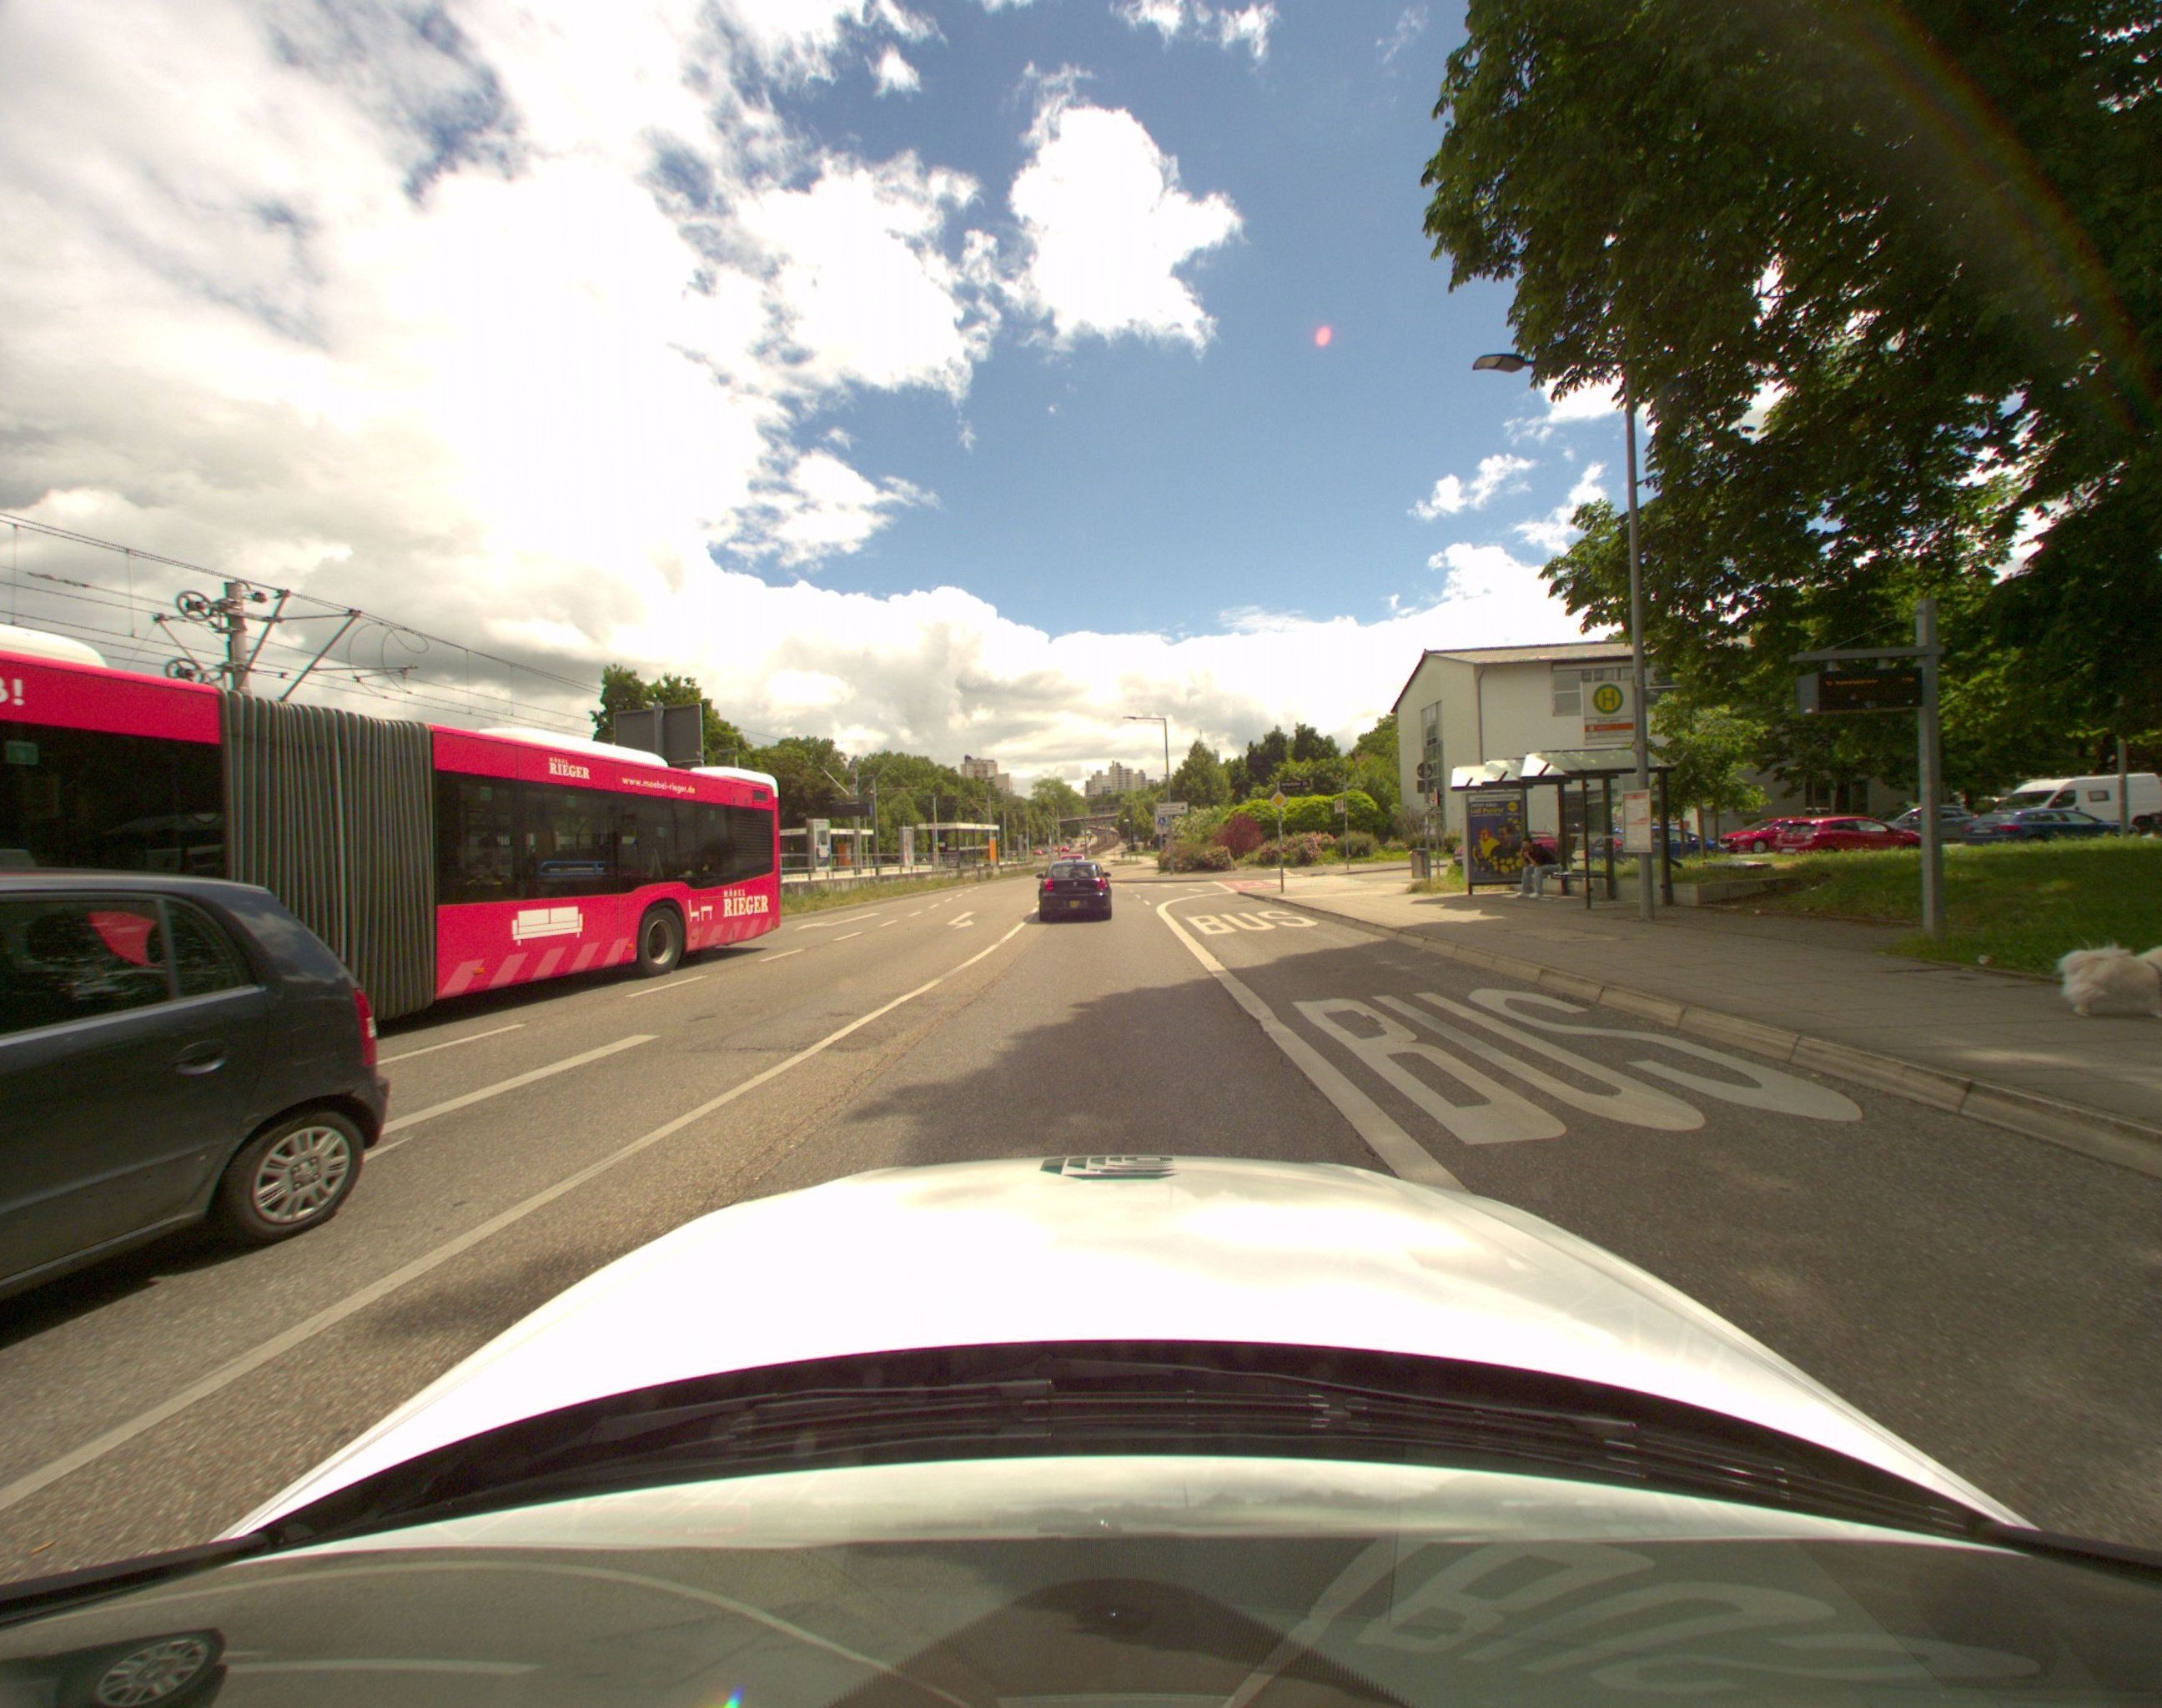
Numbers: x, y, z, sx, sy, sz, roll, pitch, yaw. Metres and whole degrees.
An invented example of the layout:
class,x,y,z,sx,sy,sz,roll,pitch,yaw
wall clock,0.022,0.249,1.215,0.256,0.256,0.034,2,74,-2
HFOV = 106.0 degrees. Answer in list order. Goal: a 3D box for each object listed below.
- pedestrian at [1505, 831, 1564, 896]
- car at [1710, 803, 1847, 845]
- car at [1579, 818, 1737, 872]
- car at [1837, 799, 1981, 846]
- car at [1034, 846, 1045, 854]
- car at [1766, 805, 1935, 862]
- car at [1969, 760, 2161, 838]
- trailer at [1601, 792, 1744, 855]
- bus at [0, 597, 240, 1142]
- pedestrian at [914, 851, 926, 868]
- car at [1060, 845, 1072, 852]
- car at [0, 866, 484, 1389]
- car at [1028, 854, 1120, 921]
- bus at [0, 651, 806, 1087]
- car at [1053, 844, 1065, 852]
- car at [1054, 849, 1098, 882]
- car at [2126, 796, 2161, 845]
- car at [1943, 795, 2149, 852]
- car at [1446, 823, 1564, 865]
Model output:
class,x,y,z,sx,sy,sz,roll,pitch,yaw
pedestrian,9.183,0.183,16.515,0.822,1.259,0.688,-3,0,9
car,29.991,-1.302,35.128,4.062,1.502,2.003,-4,1,4
car,18.797,-0.312,26.682,3.777,1.456,1.898,-4,2,3
car,35.124,-1.307,34.646,3.965,1.723,1.913,-3,0,7
car,-7.819,-0.789,153.821,1.520,1.370,3.604,-2,1,7
car,24.799,-0.674,26.345,3.670,1.643,1.832,-2,2,4
car,41.474,-2.260,34.188,5.549,2.866,2.208,-3,0,5
trailer,25.649,-1.310,35.456,4.516,2.486,2.225,-2,2,4
bus,-7.942,0.168,1.092,2.712,3.109,9.722,-2,0,7
pedestrian,-19.417,0.691,98.256,0.951,2.013,0.827,-2,2,25
car,-3.124,-1.154,168.233,1.706,1.502,2.979,-2,1,15
car,-4.048,0.851,2.418,1.522,1.551,3.739,-1,0,6
car,-0.069,0.761,20.376,1.806,1.421,4.006,-3,0,5
bus,-6.900,0.096,10.343,2.711,3.069,8.981,-2,0,7
car,-4.684,-1.386,174.870,1.901,1.561,4.011,-2,1,9
car,-0.207,0.533,39.471,1.757,1.432,3.483,-3,0,5
car,36.213,-1.152,25.591,4.062,1.559,2.002,-3,0,2
car,30.660,-0.950,25.992,4.062,1.559,2.002,-3,0,2
car,18.527,-0.457,35.696,4.141,1.561,2.001,-3,3,1
